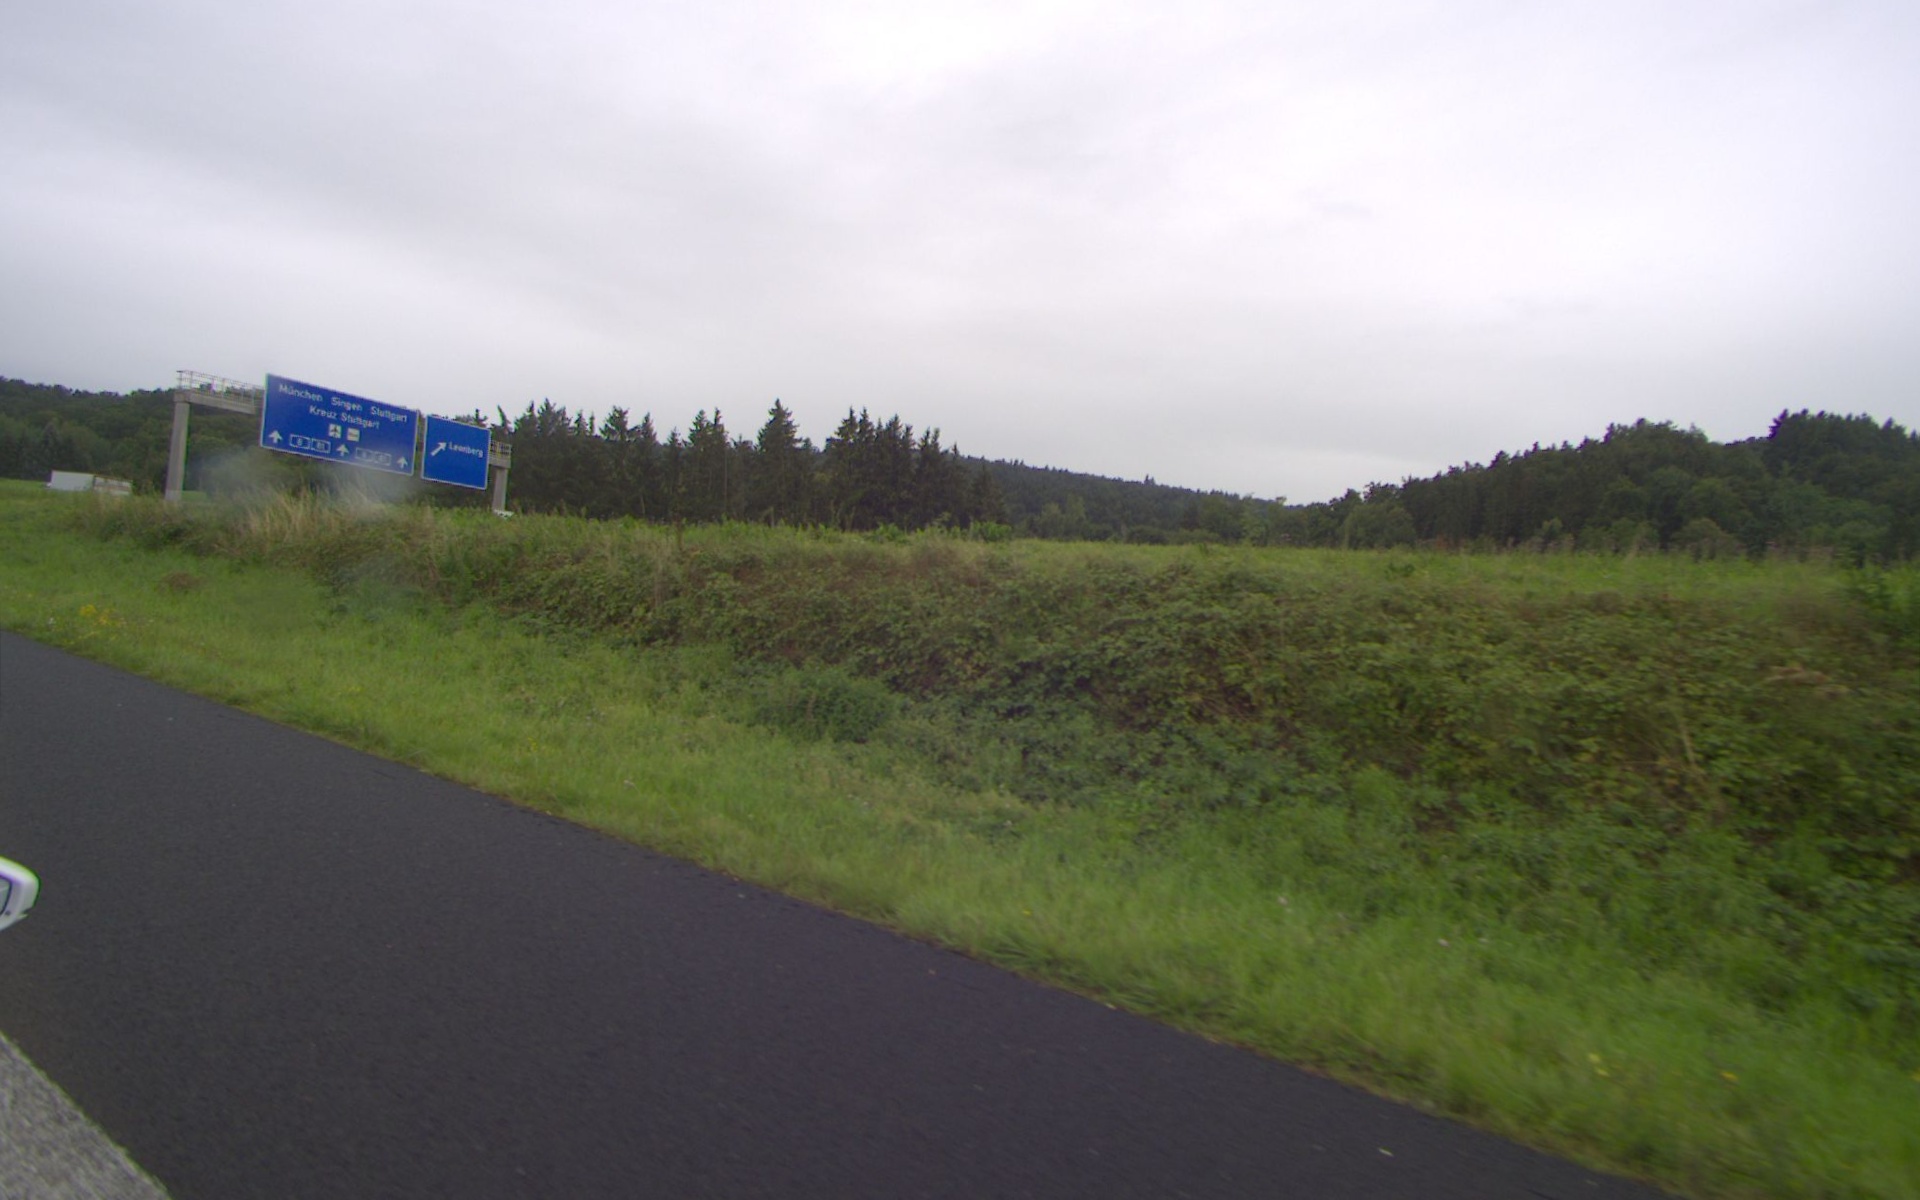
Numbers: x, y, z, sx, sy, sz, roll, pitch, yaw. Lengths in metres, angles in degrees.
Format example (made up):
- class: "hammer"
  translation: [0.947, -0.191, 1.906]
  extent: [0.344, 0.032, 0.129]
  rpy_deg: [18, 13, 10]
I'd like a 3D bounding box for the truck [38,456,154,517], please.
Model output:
- class: "truck"
  translation: [-68.453, -9.026, 79.724]
  extent: [8.126, 3.701, 3.837]
  rpy_deg: [7, -2, 27]
